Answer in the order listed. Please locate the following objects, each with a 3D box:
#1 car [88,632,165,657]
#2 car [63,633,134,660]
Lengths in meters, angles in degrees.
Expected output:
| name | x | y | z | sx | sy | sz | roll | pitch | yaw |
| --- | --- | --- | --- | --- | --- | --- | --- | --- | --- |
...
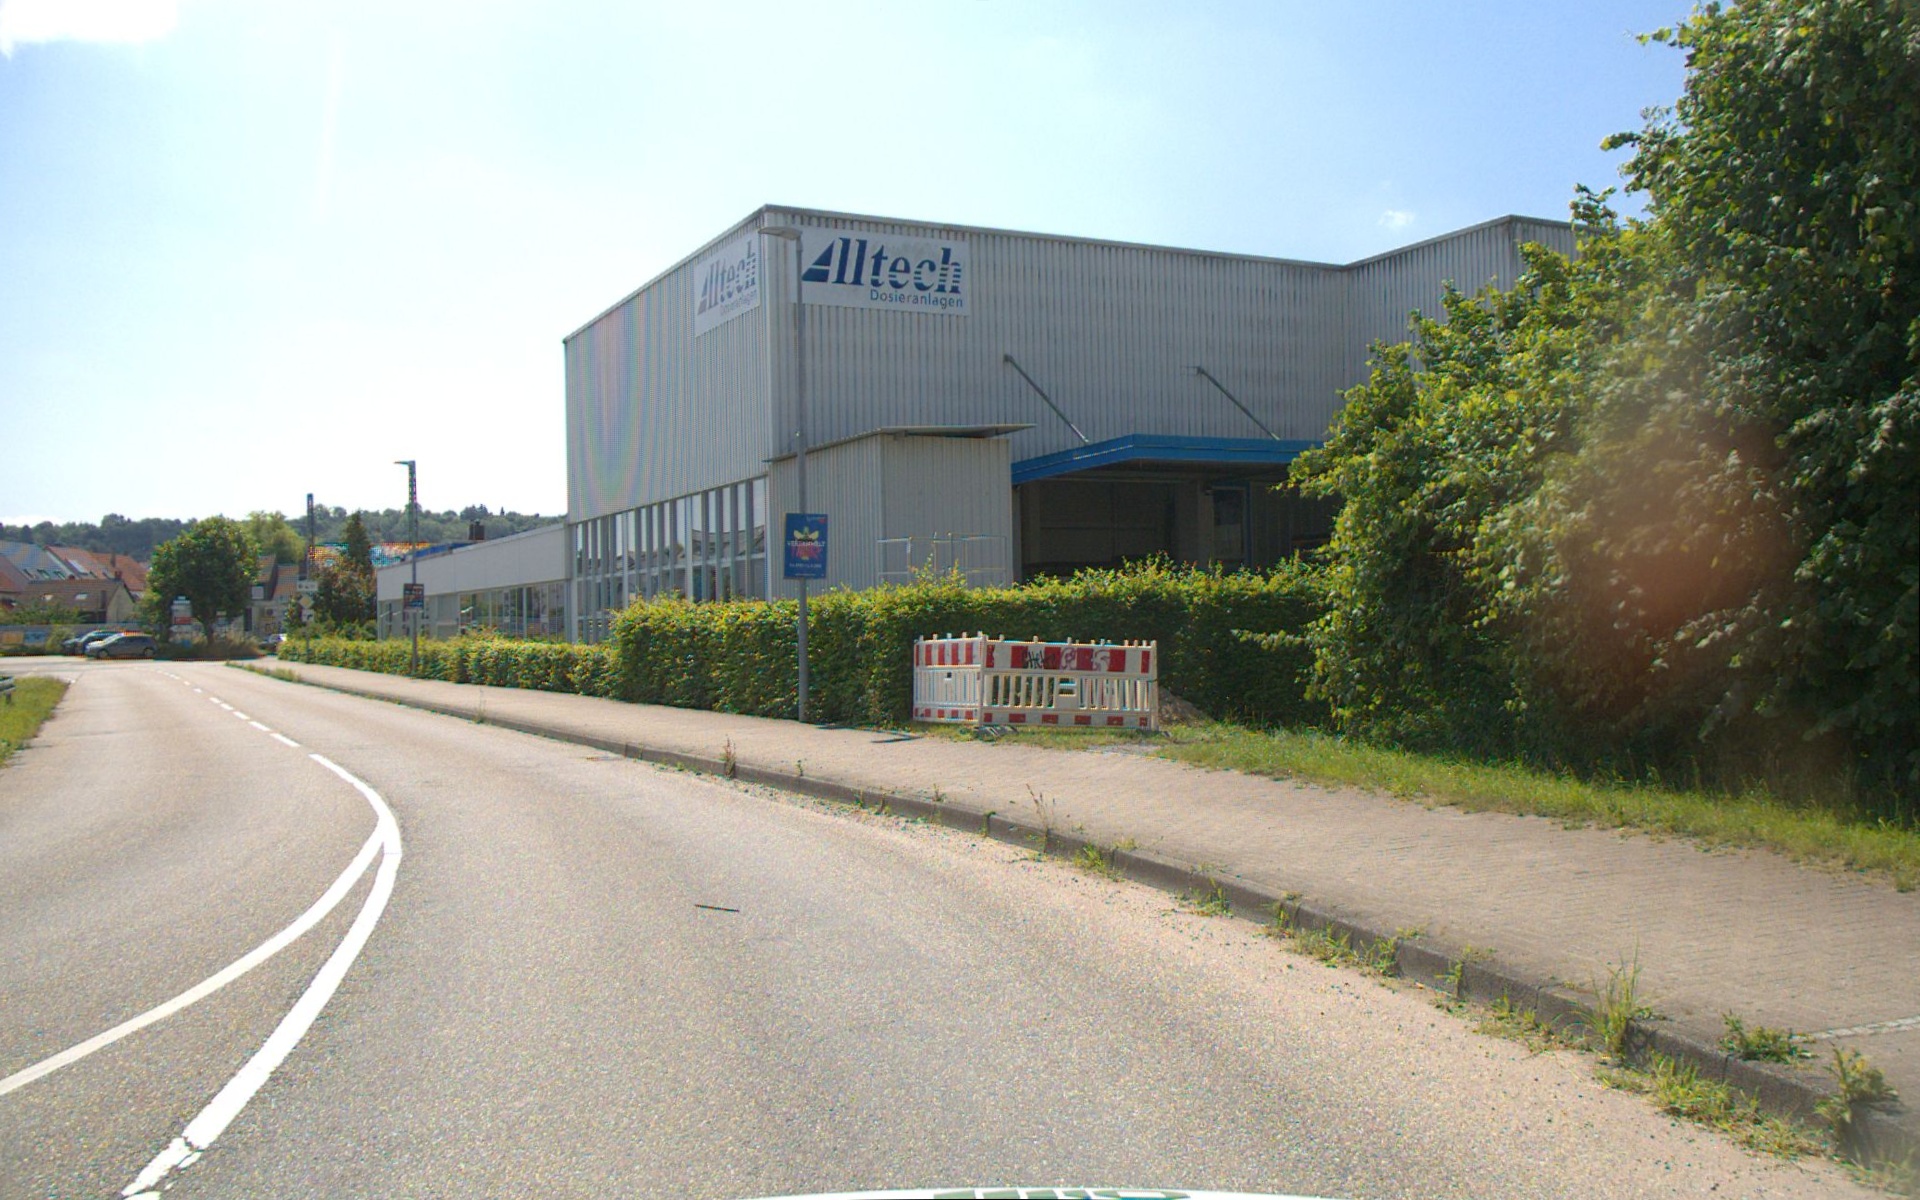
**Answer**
| name | x | y | z | sx | sy | sz | roll | pitch | yaw |
| --- | --- | --- | --- | --- | --- | --- | --- | --- | --- |
| car | -52.669 | 2.805 | 104.511 | 4.156 | 1.488 | 1.643 | 1 | -2 | -37 |
| car | -57.089 | 3.102 | 109.640 | 3.958 | 1.761 | 1.746 | 2 | -3 | -38 |
